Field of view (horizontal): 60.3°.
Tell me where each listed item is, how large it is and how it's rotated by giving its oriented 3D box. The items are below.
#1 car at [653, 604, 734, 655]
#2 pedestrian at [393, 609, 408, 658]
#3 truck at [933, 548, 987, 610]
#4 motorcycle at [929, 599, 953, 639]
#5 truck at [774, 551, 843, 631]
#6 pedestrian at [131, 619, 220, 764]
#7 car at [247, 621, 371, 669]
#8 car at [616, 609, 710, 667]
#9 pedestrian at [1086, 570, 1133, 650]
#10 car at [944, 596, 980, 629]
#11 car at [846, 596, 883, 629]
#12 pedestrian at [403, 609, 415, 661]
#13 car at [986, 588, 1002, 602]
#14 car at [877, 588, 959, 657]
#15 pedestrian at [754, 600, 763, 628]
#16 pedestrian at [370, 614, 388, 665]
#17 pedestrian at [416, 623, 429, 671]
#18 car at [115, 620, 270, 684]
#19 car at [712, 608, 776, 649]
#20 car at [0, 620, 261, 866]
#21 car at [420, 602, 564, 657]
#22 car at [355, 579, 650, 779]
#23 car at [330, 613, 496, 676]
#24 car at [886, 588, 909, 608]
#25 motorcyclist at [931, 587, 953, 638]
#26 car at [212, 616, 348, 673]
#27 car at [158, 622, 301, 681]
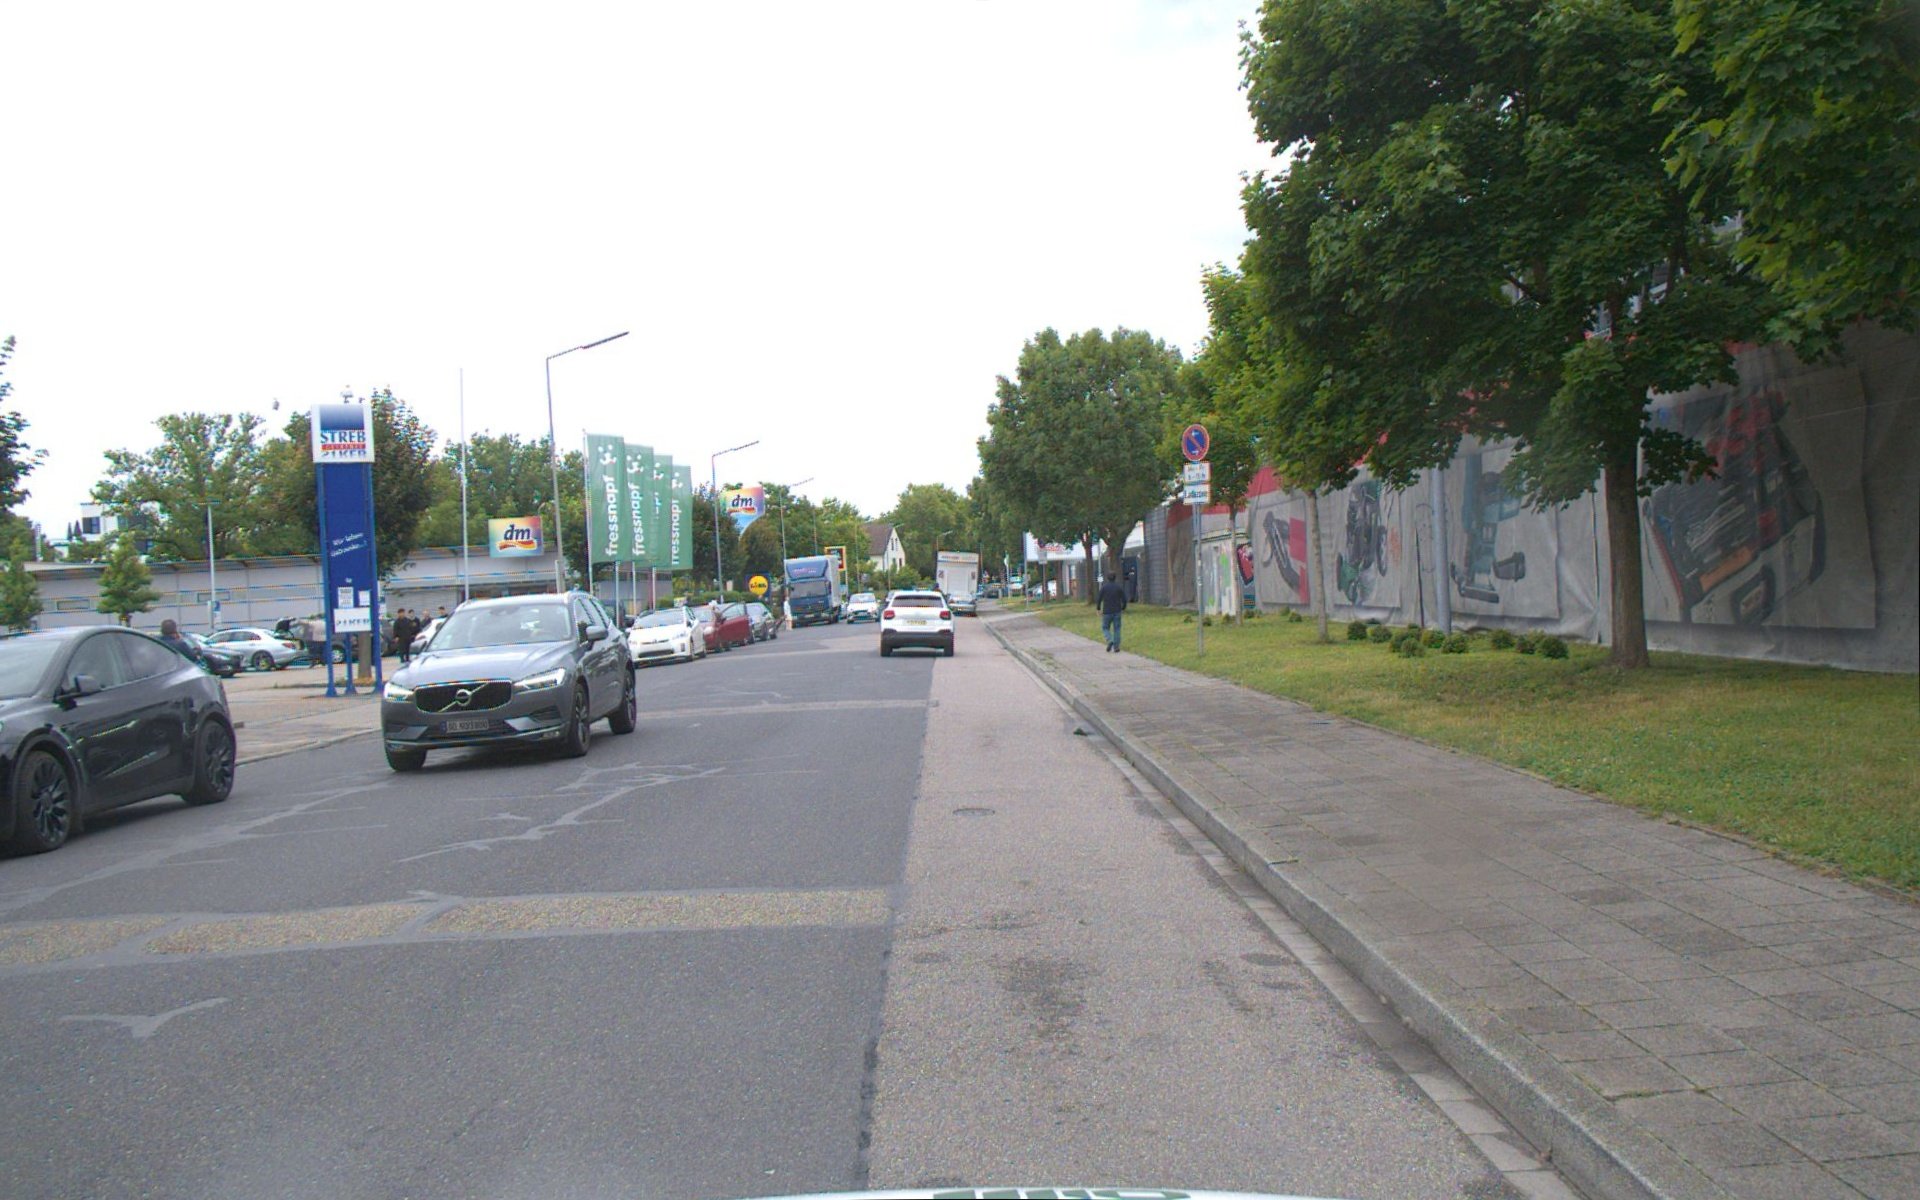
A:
[{"bbox_3d":[-8.303,0.888,51.860,1.859,1.391,4.000,-3,0,0],"label":"car"},{"bbox_3d":[-18.628,1.105,55.065,0.353,1.597,0.502,-3,0,-14],"label":"pedestrian"},{"bbox_3d":[-0.100,-1.241,105.335,3.072,3.647,10.047,-1,0,-2],"label":"truck"},{"bbox_3d":[-0.591,0.585,52.688,0.627,1.199,2.114,-3,0,2],"label":"motorcycle"},{"bbox_3d":[-8.243,-0.515,90.880,2.913,4.024,6.404,-4,0,0],"label":"truck"},{"bbox_3d":[-9.856,1.132,20.800,0.760,1.745,0.696,-2,0,-5],"label":"pedestrian"},{"bbox_3d":[-24.470,1.683,62.255,3.905,1.518,1.786,-3,0,0],"label":"car"},{"bbox_3d":[-8.099,1.011,45.371,1.860,1.391,3.999,-3,0,-1],"label":"car"},{"bbox_3d":[3.184,0.222,35.284,0.900,1.663,0.853,-1,-1,1],"label":"pedestrian"},{"bbox_3d":[0.082,0.736,96.269,1.953,1.837,3.999,-1,0,-2],"label":"car"},{"bbox_3d":[-4.932,0.625,85.537,1.566,1.554,3.528,-4,0,0],"label":"car"},{"bbox_3d":[-18.543,1.176,55.677,0.258,1.760,0.421,-3,0,-13],"label":"pedestrian"},{"bbox_3d":[4.154,-0.599,200.253,1.848,1.713,4.254,-1,0,0],"label":"car"},{"bbox_3d":[-0.967,0.496,40.273,1.848,1.558,4.254,-1,0,0],"label":"car"},{"bbox_3d":[-11.474,0.806,94.154,0.394,1.558,0.485,-3,0,-7],"label":"pedestrian"},{"bbox_3d":[-19.395,1.304,55.222,0.448,1.670,0.372,-3,0,-18],"label":"pedestrian"},{"bbox_3d":[-18.159,1.576,55.877,0.324,1.597,0.502,-3,0,-14],"label":"pedestrian"},{"bbox_3d":[-24.193,1.625,52.230,3.906,1.698,1.876,-3,0,0],"label":"car"},{"bbox_3d":[-8.223,1.072,63.269,1.859,1.391,4.000,-3,0,0],"label":"car"},{"bbox_3d":[-7.321,1.082,12.693,1.908,1.552,4.402,-7,0,-1],"label":"car"},{"bbox_3d":[-14.848,0.917,52.648,4.056,1.488,1.896,-3,0,-6],"label":"car"},{"bbox_3d":[-4.647,0.723,17.535,1.895,1.713,4.493,-4,0,-2],"label":"car"},{"bbox_3d":[-15.551,1.254,47.225,4.125,1.488,1.949,-3,0,-8],"label":"car"},{"bbox_3d":[-5.524,-0.161,146.192,1.953,1.713,3.999,-2,0,-2],"label":"car"},{"bbox_3d":[-0.577,0.405,52.579,0.612,1.581,0.604,-3,0,1],"label":"motorcyclist"},{"bbox_3d":[-23.970,1.558,58.383,3.906,1.698,1.876,-3,0,0],"label":"car"},{"bbox_3d":[-24.710,1.727,56.021,3.906,1.698,1.876,-3,0,0],"label":"car"}]
